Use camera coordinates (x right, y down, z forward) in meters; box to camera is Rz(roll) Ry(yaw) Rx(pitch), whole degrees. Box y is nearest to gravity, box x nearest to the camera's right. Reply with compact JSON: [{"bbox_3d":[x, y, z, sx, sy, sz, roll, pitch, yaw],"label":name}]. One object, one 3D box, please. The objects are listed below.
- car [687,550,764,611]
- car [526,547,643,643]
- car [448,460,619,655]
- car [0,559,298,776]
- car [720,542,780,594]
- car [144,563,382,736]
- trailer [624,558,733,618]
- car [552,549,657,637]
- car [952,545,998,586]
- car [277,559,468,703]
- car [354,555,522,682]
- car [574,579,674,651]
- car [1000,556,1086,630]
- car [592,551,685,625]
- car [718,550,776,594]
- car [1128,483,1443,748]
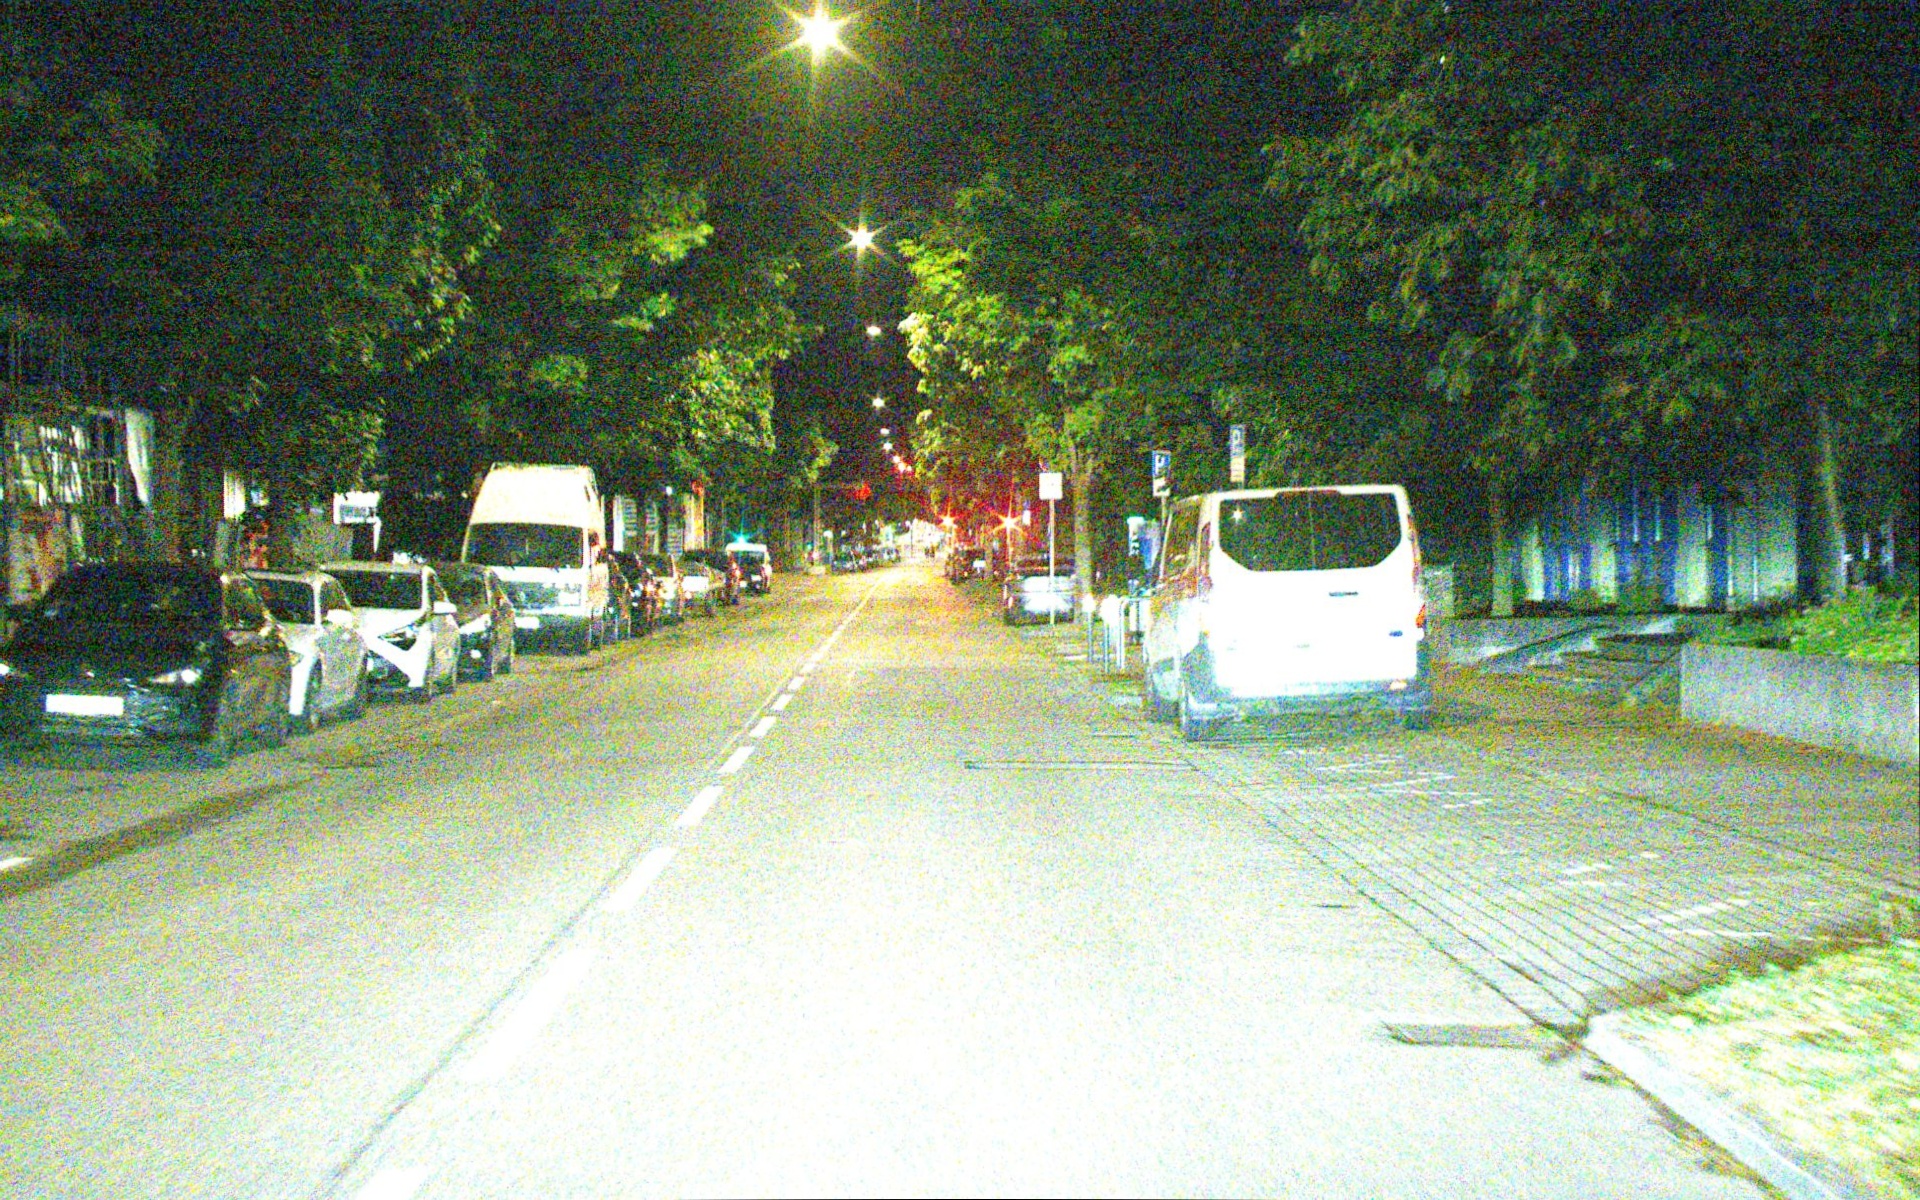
[{"bbox_3d":[-6.700,-0.564,98.562,1.822,1.593,4.072,3,1,0],"label":"car"},{"bbox_3d":[-6.529,-0.103,60.103,1.742,1.601,4.116,1,0,-2],"label":"car"},{"bbox_3d":[-6.687,-0.661,54.390,2.179,2.899,4.910,1,0,-2],"label":"car"},{"bbox_3d":[-6.276,0.465,26.531,1.642,1.499,3.904,2,0,-2],"label":"car"},{"bbox_3d":[-7.787,-1.176,127.870,1.822,1.805,4.210,3,1,0],"label":"car"},{"bbox_3d":[-6.336,0.413,31.579,1.444,1.425,3.904,2,0,-2],"label":"car"},{"bbox_3d":[-6.810,-0.288,83.767,2.110,1.330,5.435,2,0,0],"label":"trailer"},{"bbox_3d":[-6.741,-0.138,65.448,1.742,1.601,4.298,-1,0,-3],"label":"car"},{"bbox_3d":[0.592,-1.421,141.262,1.853,1.648,4.209,0,1,0],"label":"car"},{"bbox_3d":[-6.351,0.306,37.430,1.547,1.450,3.368,2,0,-2],"label":"car"},{"bbox_3d":[-6.564,0.206,43.555,1.645,1.499,3.861,1,0,-2],"label":"car"},{"bbox_3d":[-6.901,0.287,70.861,1.704,1.407,4.634,0,1,-1],"label":"car"},{"bbox_3d":[1.703,-0.150,70.749,1.668,1.424,4.147,-2,0,1],"label":"car"},{"bbox_3d":[-7.060,-0.272,75.808,1.716,1.497,4.206,3,0,-2],"label":"car"},{"bbox_3d":[-7.465,-0.986,120.727,1.700,1.428,3.828,3,1,0],"label":"car"},{"bbox_3d":[2.602,0.099,28.581,1.950,1.957,4.604,-2,1,-2],"label":"car"}]
